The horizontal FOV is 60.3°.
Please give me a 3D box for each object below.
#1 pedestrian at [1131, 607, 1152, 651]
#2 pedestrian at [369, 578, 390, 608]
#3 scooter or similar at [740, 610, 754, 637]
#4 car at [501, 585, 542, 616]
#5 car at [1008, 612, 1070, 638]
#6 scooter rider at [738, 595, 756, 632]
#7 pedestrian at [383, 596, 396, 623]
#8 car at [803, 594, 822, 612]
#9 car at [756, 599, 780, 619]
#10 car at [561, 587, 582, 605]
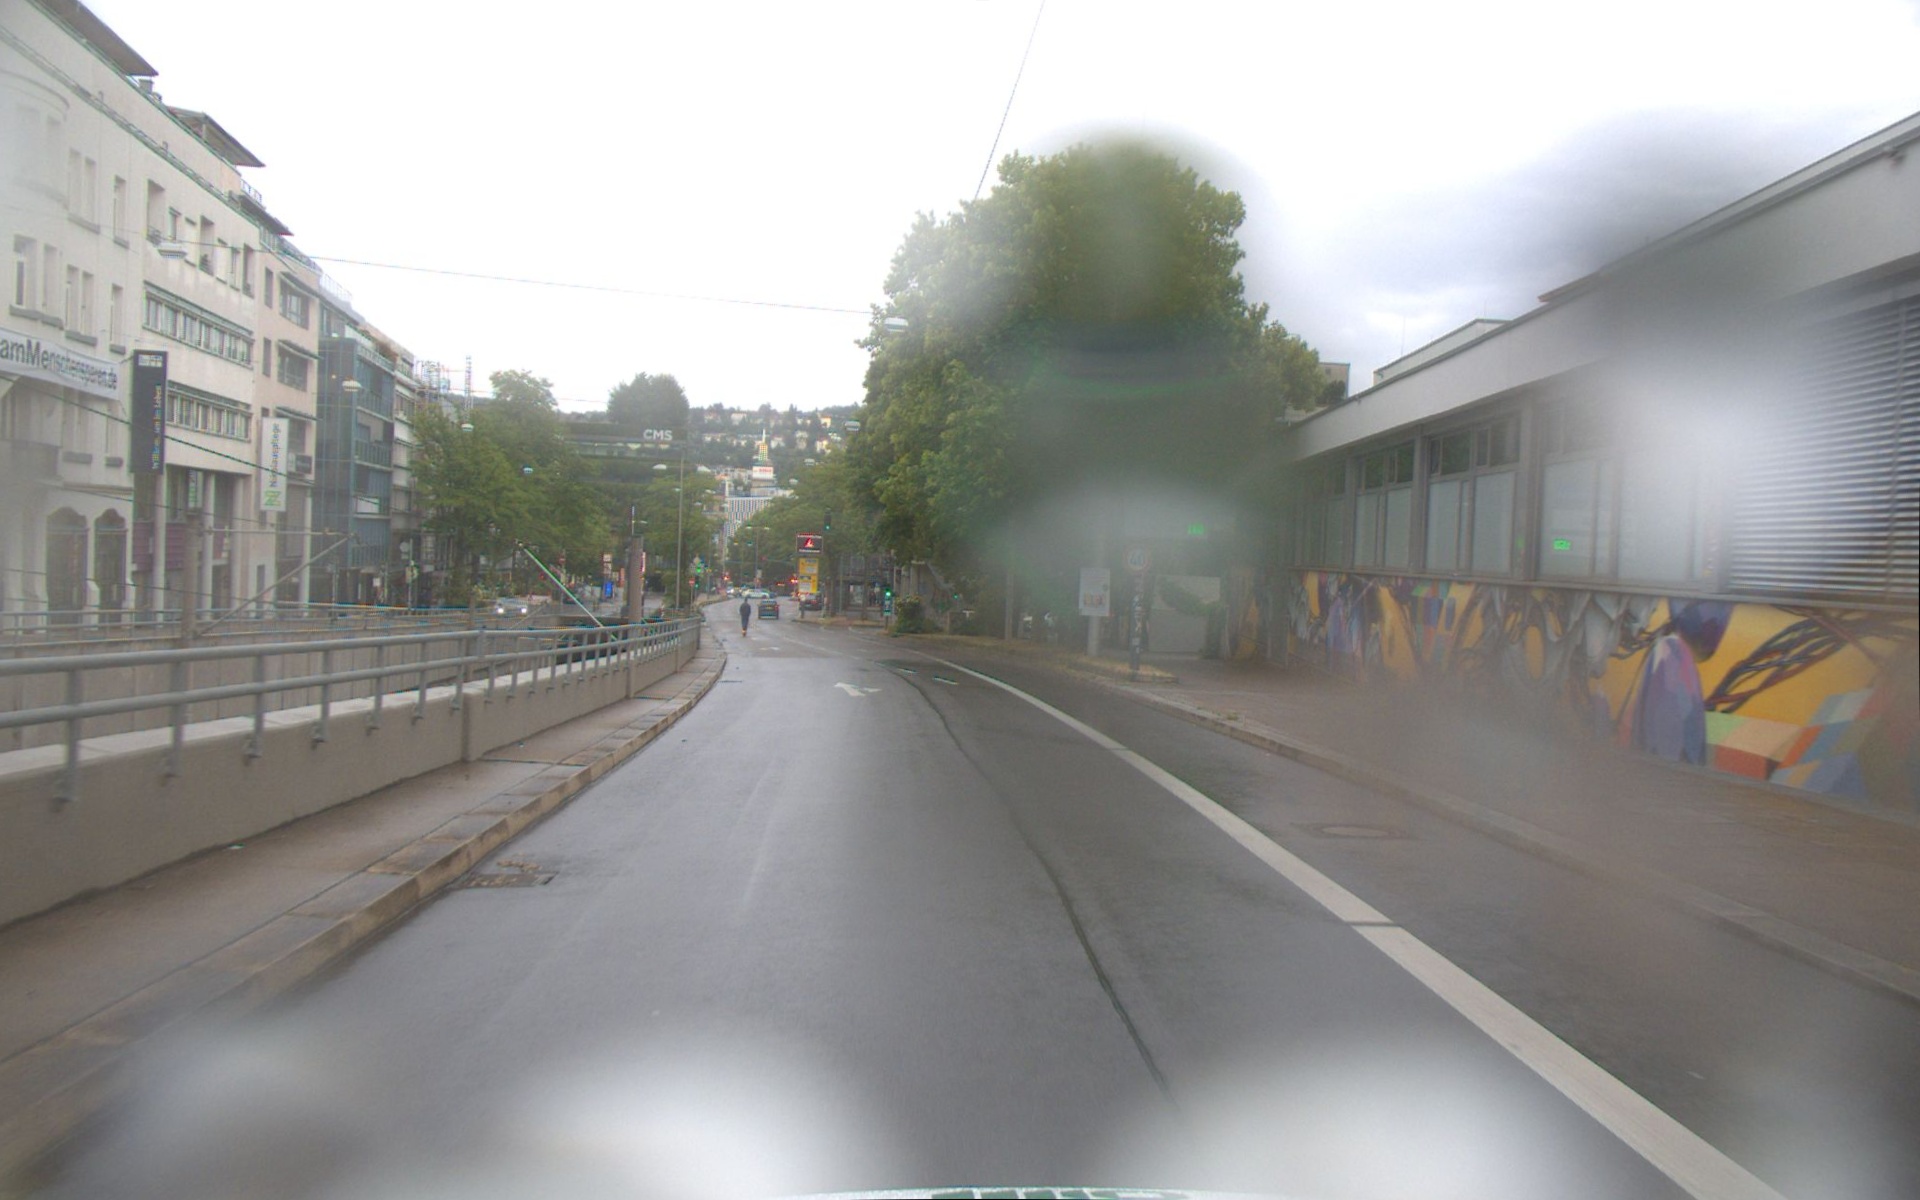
[{"bbox_3d":[7.827,1.241,71.305,0.790,1.897,1.056,1,-1,0],"label":"pedestrian"},{"bbox_3d":[-37.711,-0.437,107.444,0.845,1.901,0.960,2,-1,9],"label":"pedestrian"},{"bbox_3d":[-11.517,1.261,89.395,0.536,1.443,1.950,2,0,-11],"label":"scooter or similar"},{"bbox_3d":[-26.763,-0.003,101.056,1.802,1.742,4.570,2,1,-8],"label":"car"},{"bbox_3d":[5.711,1.818,119.243,4.306,1.713,1.731,3,-1,-35],"label":"car"},{"bbox_3d":[-11.513,0.714,89.396,0.794,1.982,0.820,3,-1,-11],"label":"scooter rider"},{"bbox_3d":[-35.918,0.617,104.125,0.652,1.701,0.487,2,-1,-11],"label":"pedestrian"},{"bbox_3d":[-15.236,0.294,171.009,1.864,1.713,3.906,3,0,-5],"label":"car"},{"bbox_3d":[-15.894,0.718,137.025,1.714,1.545,4.097,2,0,-9],"label":"car"},{"bbox_3d":[-39.096,-0.408,166.650,1.748,1.582,3.885,3,2,-10],"label":"car"}]
